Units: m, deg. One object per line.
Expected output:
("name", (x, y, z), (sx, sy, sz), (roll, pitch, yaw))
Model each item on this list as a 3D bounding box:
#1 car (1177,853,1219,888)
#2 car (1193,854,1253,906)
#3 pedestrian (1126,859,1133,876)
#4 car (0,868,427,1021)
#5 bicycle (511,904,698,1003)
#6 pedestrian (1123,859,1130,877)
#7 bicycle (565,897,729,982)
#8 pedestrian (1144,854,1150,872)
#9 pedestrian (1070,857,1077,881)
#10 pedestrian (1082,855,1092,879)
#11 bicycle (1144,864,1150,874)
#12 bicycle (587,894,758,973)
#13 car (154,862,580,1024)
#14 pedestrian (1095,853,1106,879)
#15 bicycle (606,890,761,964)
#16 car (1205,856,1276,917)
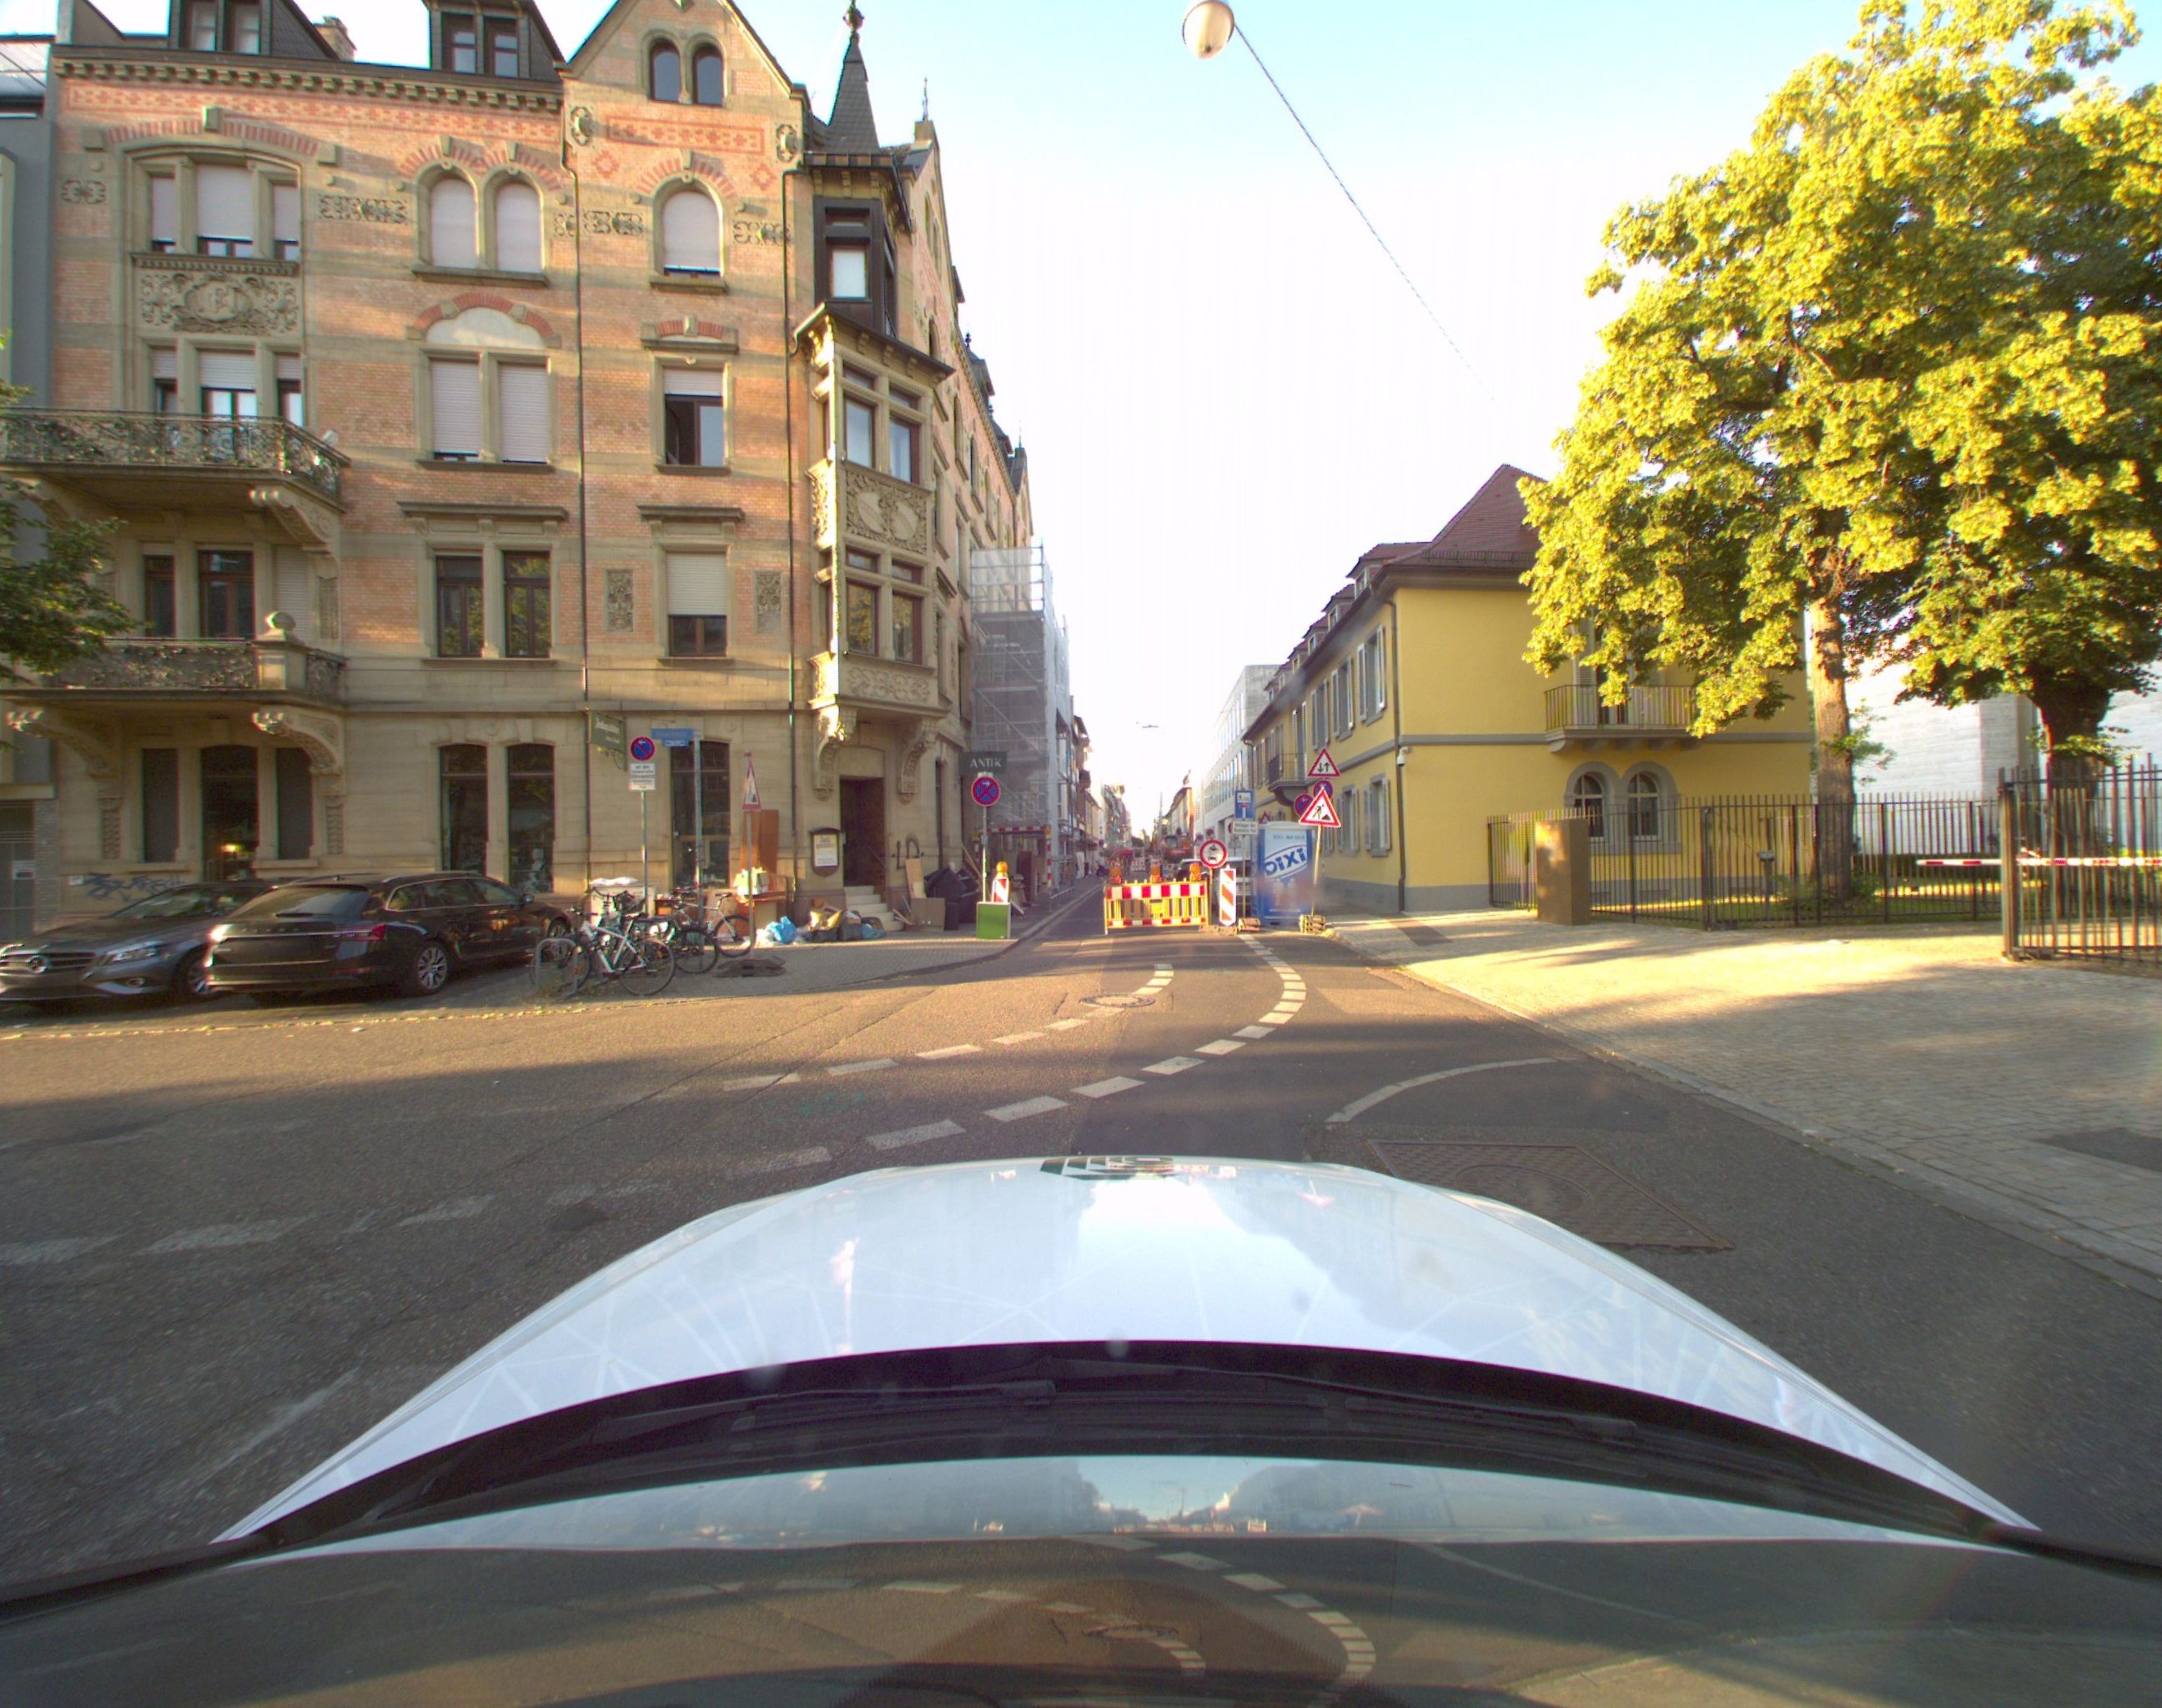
("car", (5.427, 0.742, 38.140), (1.709, 1.520, 3.225), (-2, 0, 5))
("car", (4.550, 0.789, 26.527), (1.533, 1.520, 3.984), (-2, 0, 5))
("pedestrian", (4.158, 1.123, 69.195), (0.501, 1.461, 0.514), (-2, 0, 10))
("car", (-11.473, 1.022, 11.008), (1.859, 1.479, 4.533), (-2, 1, -6))
("bicycle", (-5.614, 1.164, 9.653), (1.822, 1.047, 0.571), (-1, 0, -4))
("pedestrian", (3.670, 1.154, 66.210), (0.502, 1.461, 0.513), (-2, 0, 4))
("bicycle", (-5.811, 1.131, 10.983), (1.824, 1.013, 0.638), (-1, 0, -7))
("pedestrian", (5.650, 0.773, 69.915), (0.502, 1.461, 0.513), (-2, 0, 5))
("pedestrian", (-0.504, 0.986, 54.029), (0.339, 1.566, 0.423), (-1, -1, 26))
("pedestrian", (0.412, 0.935, 59.254), (0.673, 1.733, 0.700), (-1, -1, 1))
("bicycle", (5.668, 1.280, 70.007), (0.502, 0.884, 1.478), (-2, 0, 4))
("bicycle", (-5.889, 1.128, 11.843), (2.101, 1.013, 0.638), (-1, 0, -7))
("car", (-8.885, 0.950, 10.844), (1.902, 1.511, 4.533), (-2, 1, -6))
("pedestrian", (1.359, 0.812, 55.720), (0.508, 1.764, 0.507), (-1, 0, -37))
("bicycle", (-6.152, 1.116, 12.666), (2.101, 1.040, 0.464), (-1, 0, -7))
("car", (4.208, 0.803, 21.888), (1.533, 1.520, 3.225), (0, 0, 5))
